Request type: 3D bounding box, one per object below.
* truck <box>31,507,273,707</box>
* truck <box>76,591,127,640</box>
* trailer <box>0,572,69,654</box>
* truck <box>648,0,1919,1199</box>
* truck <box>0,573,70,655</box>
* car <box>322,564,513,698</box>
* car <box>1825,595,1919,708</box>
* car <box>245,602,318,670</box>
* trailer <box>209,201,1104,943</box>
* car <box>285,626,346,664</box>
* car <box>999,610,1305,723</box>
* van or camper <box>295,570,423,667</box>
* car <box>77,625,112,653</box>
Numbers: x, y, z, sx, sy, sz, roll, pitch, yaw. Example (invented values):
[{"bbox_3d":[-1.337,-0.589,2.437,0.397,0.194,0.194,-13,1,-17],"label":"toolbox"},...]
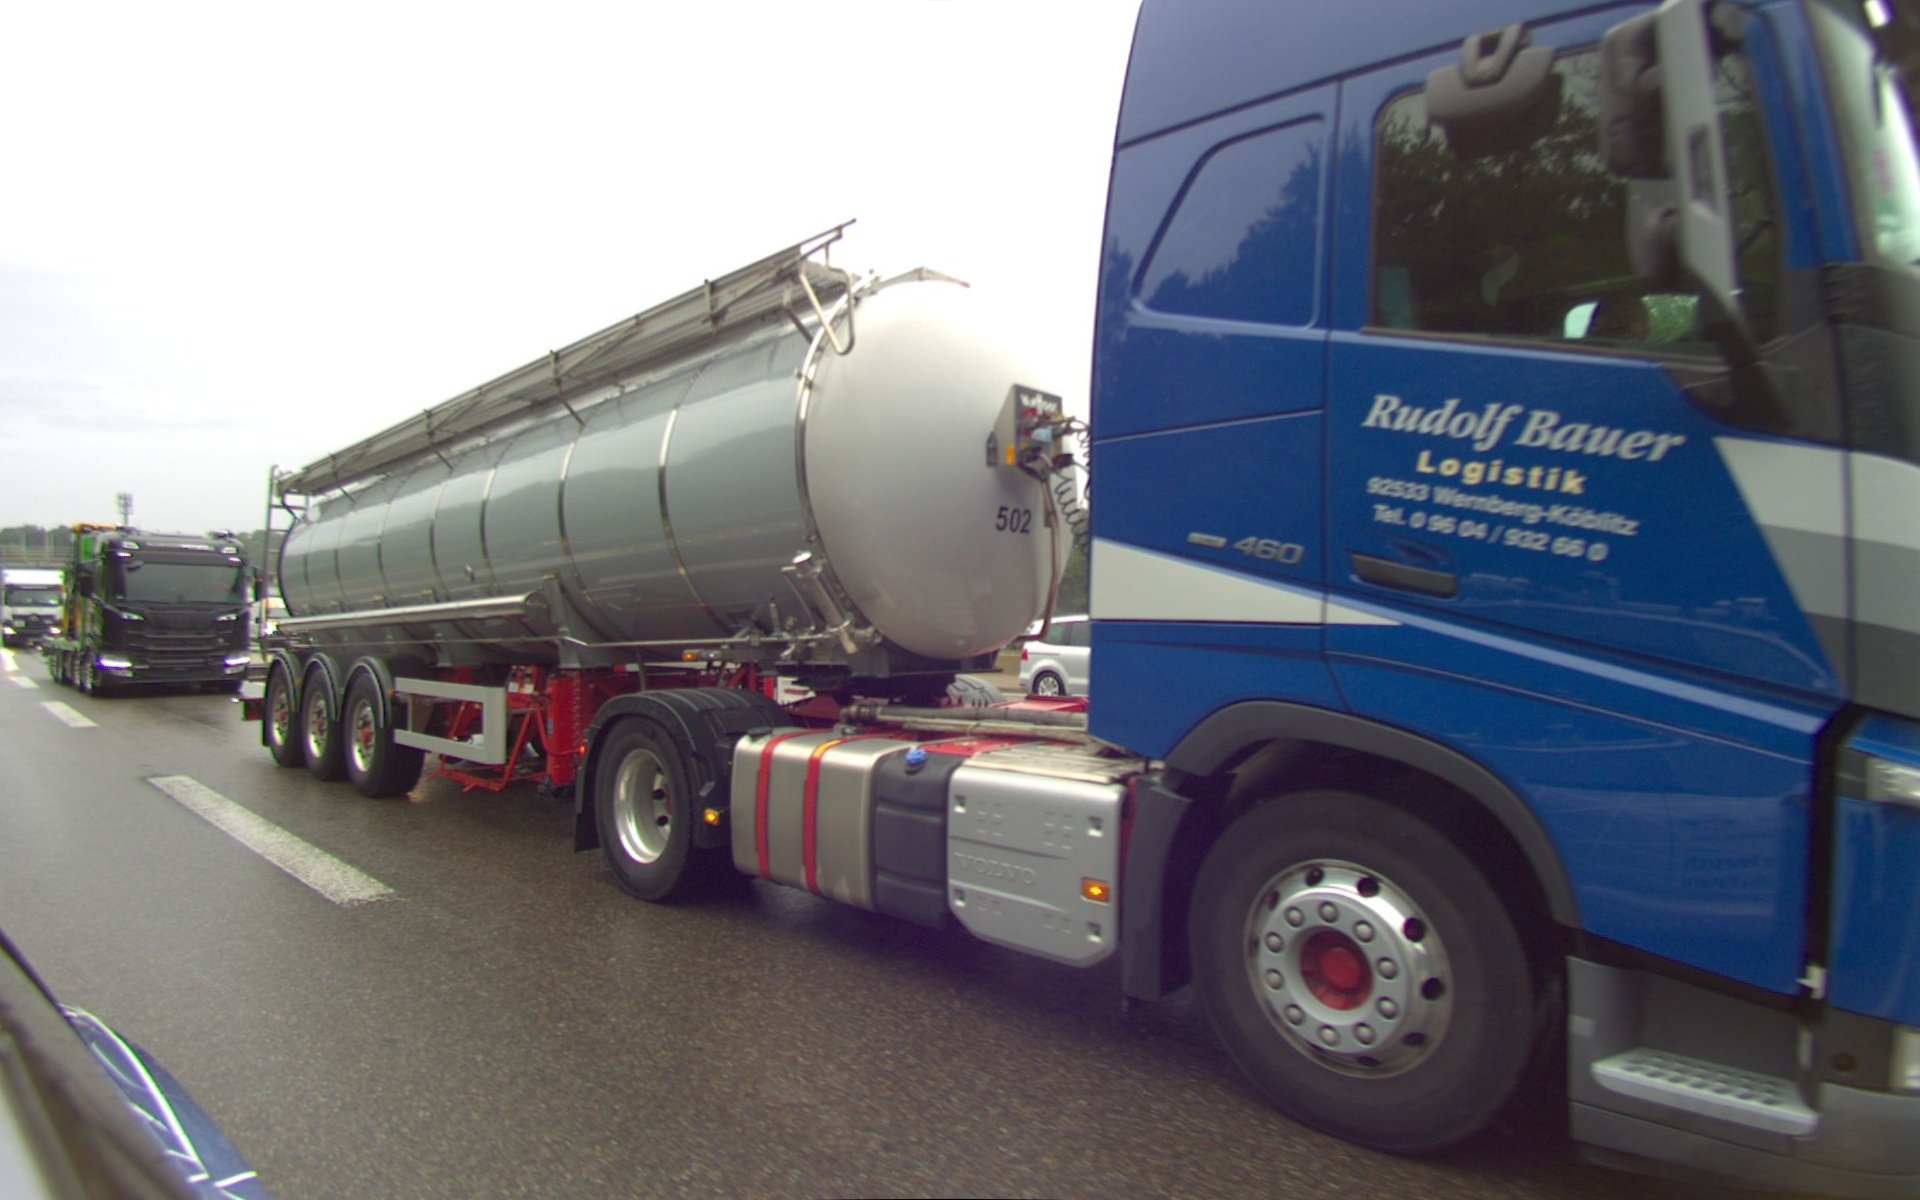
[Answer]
[{"bbox_3d":[-19.063,0.225,23.431,11.800,3.616,2.799,-1,-2,44],"label":"truck"},{"bbox_3d":[-80.797,1.299,95.312,3.306,4.100,12.593,-3,3,-40],"label":"truck"},{"bbox_3d":[-53.714,0.696,58.722,2.883,4.237,13.653,1,-1,-42],"label":"trailer"},{"bbox_3d":[1.238,-0.355,4.425,5.056,3.722,2.846,-2,-2,43],"label":"truck"},{"bbox_3d":[-49.632,0.733,54.159,2.883,4.130,6.728,1,-1,-42],"label":"truck"},{"bbox_3d":[-12.344,0.636,22.785,2.190,2.649,5.847,1,-1,-45],"label":"car"},{"bbox_3d":[15.611,0.748,14.941,4.208,1.670,1.971,-1,-1,44],"label":"car"},{"bbox_3d":[-31.703,1.614,47.239,4.002,2.855,1.971,1,3,44],"label":"car"},{"bbox_3d":[-3.729,-0.027,8.982,10.076,3.314,2.842,-2,-2,42],"label":"trailer"},{"bbox_3d":[-36.333,2.497,57.030,4.218,2.029,1.971,-1,-2,44],"label":"car"},{"bbox_3d":[3.214,1.078,17.824,5.084,1.696,1.971,-2,-2,44],"label":"car"},{"bbox_3d":[-22.362,0.658,37.474,2.549,3.228,7.137,1,-1,-44],"label":"van or camper"},{"bbox_3d":[-64.740,2.912,75.642,1.737,1.785,4.004,-4,3,-43],"label":"car"}]
